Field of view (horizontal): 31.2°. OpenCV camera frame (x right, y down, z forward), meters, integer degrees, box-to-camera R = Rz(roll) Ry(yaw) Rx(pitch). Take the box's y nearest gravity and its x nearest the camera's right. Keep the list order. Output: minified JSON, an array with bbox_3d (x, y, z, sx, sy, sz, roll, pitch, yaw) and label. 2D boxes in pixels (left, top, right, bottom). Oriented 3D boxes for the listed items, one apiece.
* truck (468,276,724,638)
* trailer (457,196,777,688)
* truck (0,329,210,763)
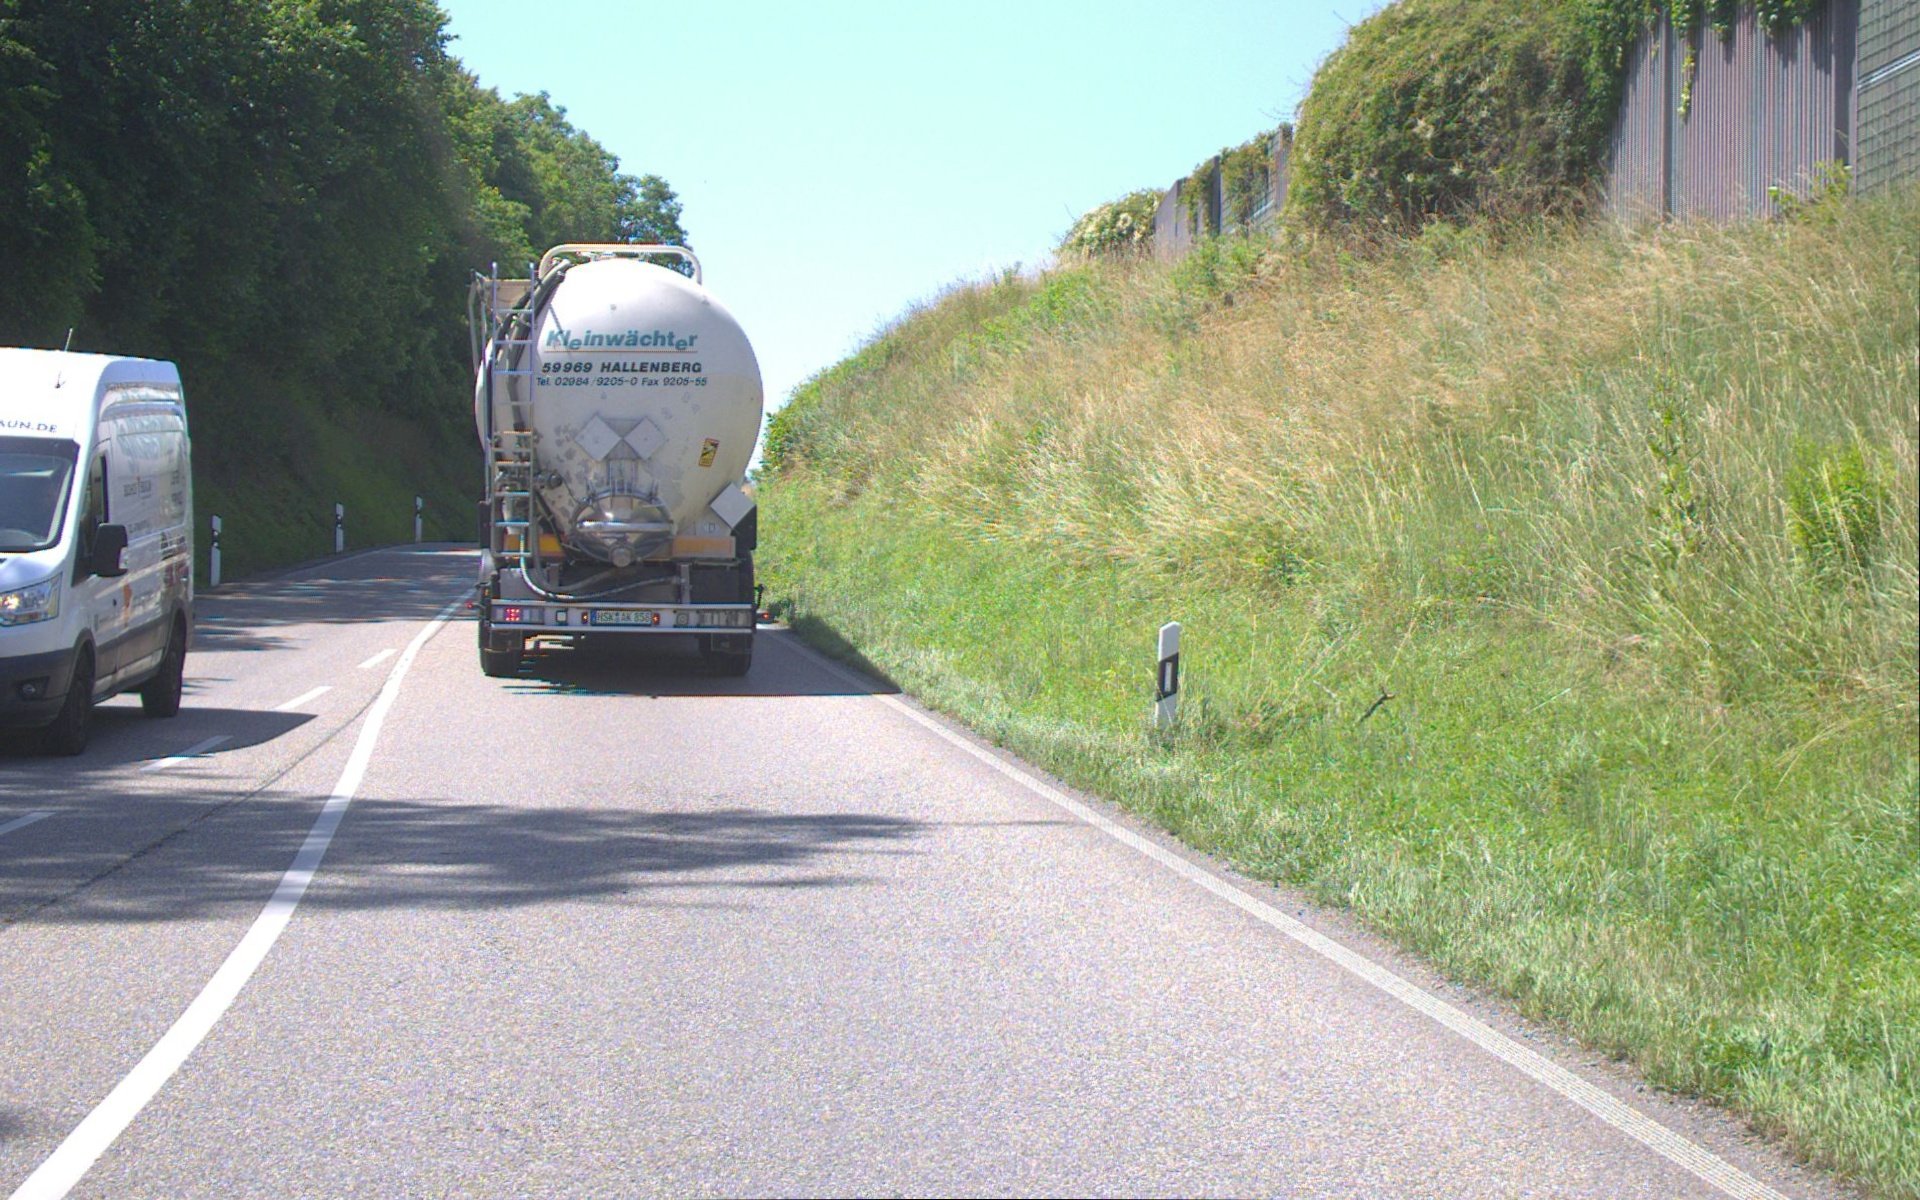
[{"bbox_3d":[-4.411,-1.712,41.095,2.726,3.916,7.266,-1,2,-7],"label":"truck"},{"bbox_3d":[-3.699,-1.601,35.264,2.660,4.174,11.908,-1,2,-8],"label":"trailer"},{"bbox_3d":[-6.674,-0.406,24.137,2.052,2.677,5.983,0,1,-6],"label":"truck"}]
